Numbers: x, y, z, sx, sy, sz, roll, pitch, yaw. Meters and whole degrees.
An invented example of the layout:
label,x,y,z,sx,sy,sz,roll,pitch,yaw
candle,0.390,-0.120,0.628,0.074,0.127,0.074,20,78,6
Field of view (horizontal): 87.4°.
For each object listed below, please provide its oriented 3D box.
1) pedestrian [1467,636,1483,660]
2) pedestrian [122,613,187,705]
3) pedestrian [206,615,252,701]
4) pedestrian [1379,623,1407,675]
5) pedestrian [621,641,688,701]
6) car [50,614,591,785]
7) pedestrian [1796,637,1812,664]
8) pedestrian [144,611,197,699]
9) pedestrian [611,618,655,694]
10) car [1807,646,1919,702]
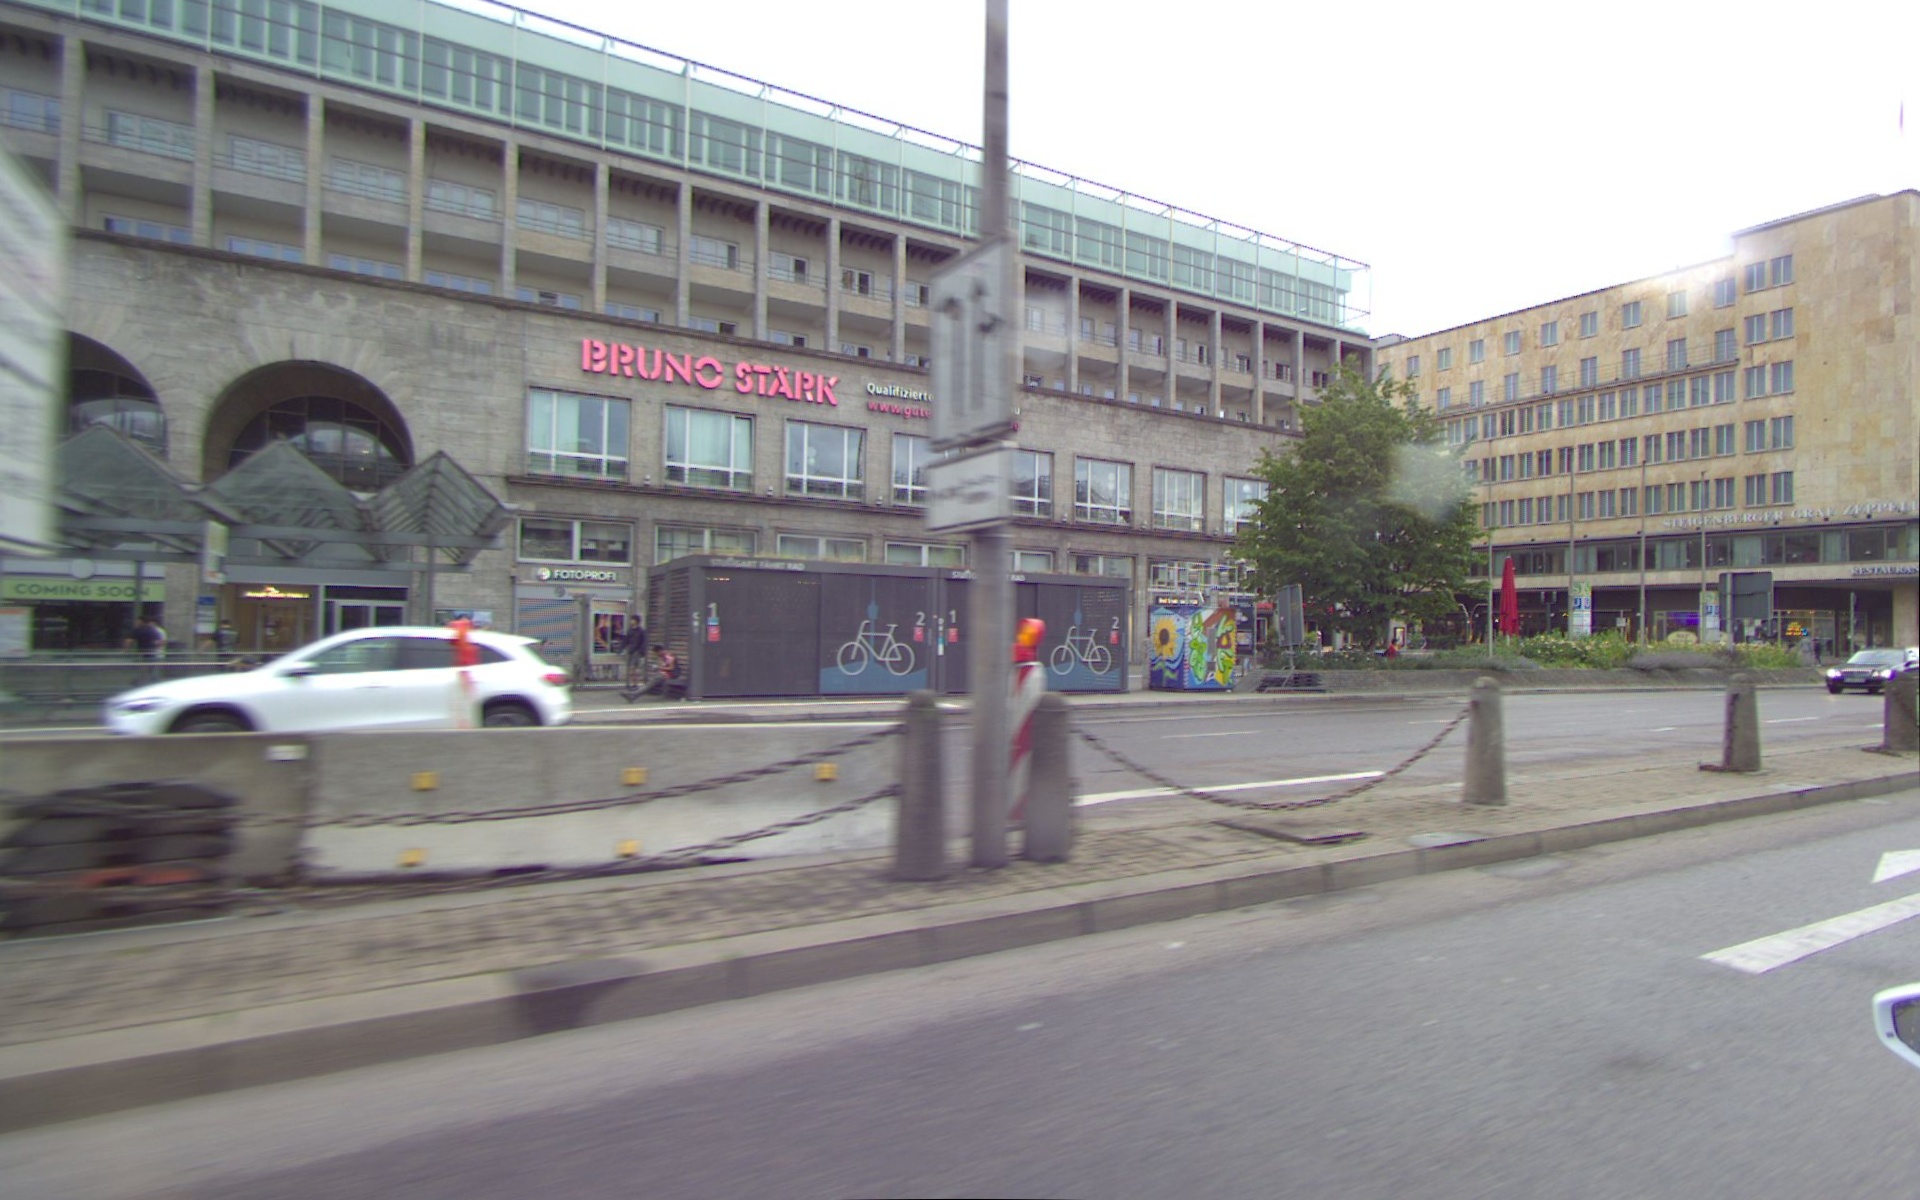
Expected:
label,x,y,z,sx,sy,sz,roll,pitch,yaw
pedestrian,37.444,3.504,73.084,0.825,1.694,0.699,2,-2,-27
pedestrian,-19.284,1.402,24.060,0.965,2.154,0.767,1,-2,-22
pedestrian,-18.064,1.420,24.836,0.761,2.068,0.800,1,-2,-28
pedestrian,17.006,1.921,39.475,0.783,2.040,0.664,1,-2,-28
pedestrian,-6.489,1.492,21.333,1.246,1.198,0.577,1,0,-30
car,-6.874,1.018,11.415,4.780,1.584,1.953,1,-4,-31
pedestrian,51.978,3.092,61.854,0.687,1.665,0.646,-1,-2,43
pedestrian,-19.630,1.363,24.989,0.794,2.154,0.767,1,-2,-22
pedestrian,-8.361,1.421,25.657,0.919,1.881,0.715,1,0,-30
car,29.615,2.336,32.244,4.915,1.638,1.986,2,-2,-28
